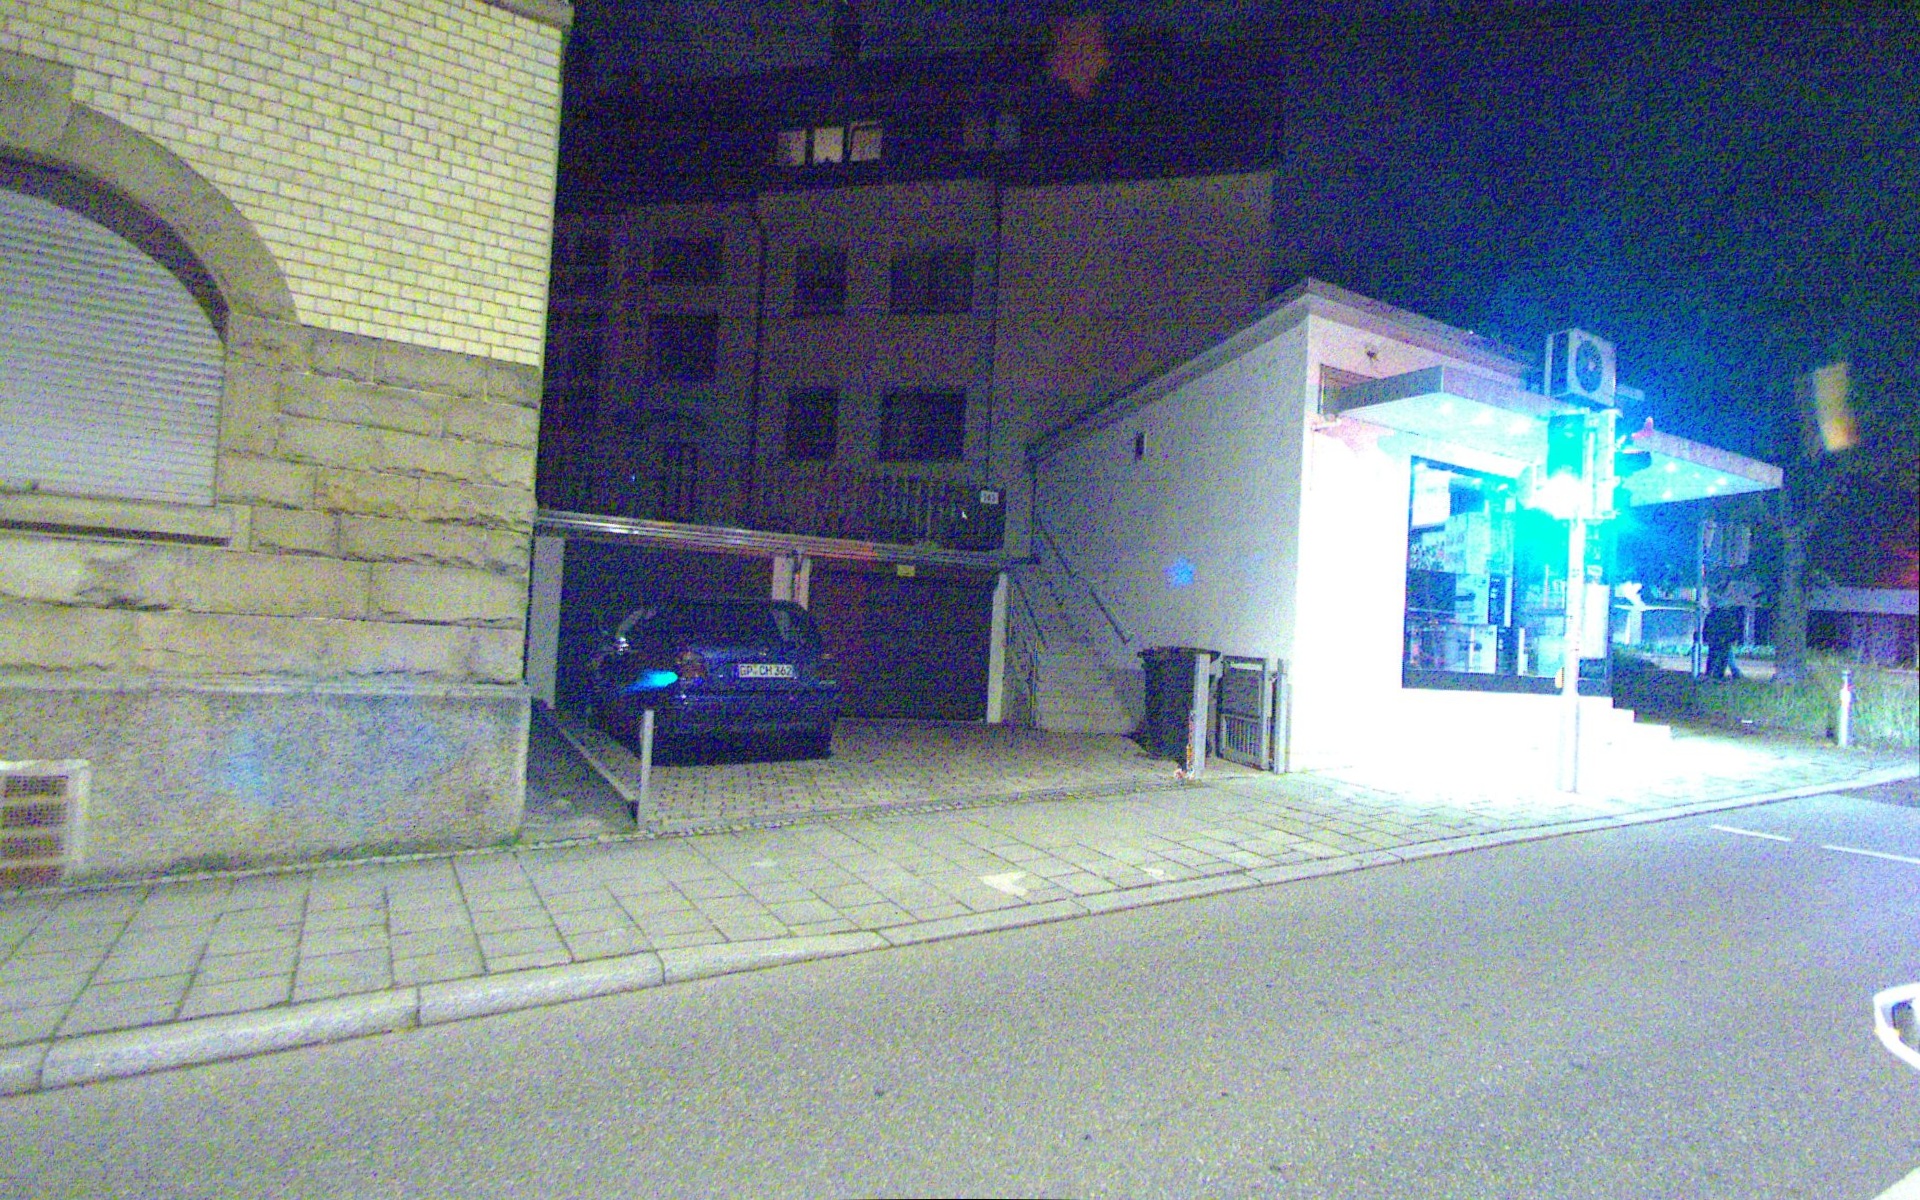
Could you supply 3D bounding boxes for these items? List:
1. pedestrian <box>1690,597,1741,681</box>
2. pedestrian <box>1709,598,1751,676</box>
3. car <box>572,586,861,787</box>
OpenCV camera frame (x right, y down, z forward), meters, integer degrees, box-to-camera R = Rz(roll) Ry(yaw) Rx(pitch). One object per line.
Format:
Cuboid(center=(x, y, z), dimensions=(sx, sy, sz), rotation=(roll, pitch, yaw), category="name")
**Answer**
Cuboid(center=(16.657, 0.848, 22.149), dimensions=(0.729, 1.801, 0.567), rotation=(2, 2, -30), category="pedestrian")
Cuboid(center=(17.690, 0.850, 23.074), dimensions=(0.537, 1.754, 0.567), rotation=(2, 0, -30), category="pedestrian")
Cuboid(center=(-2.488, 0.654, 9.587), dimensions=(1.700, 1.460, 3.631), rotation=(2, 1, -30), category="car")
